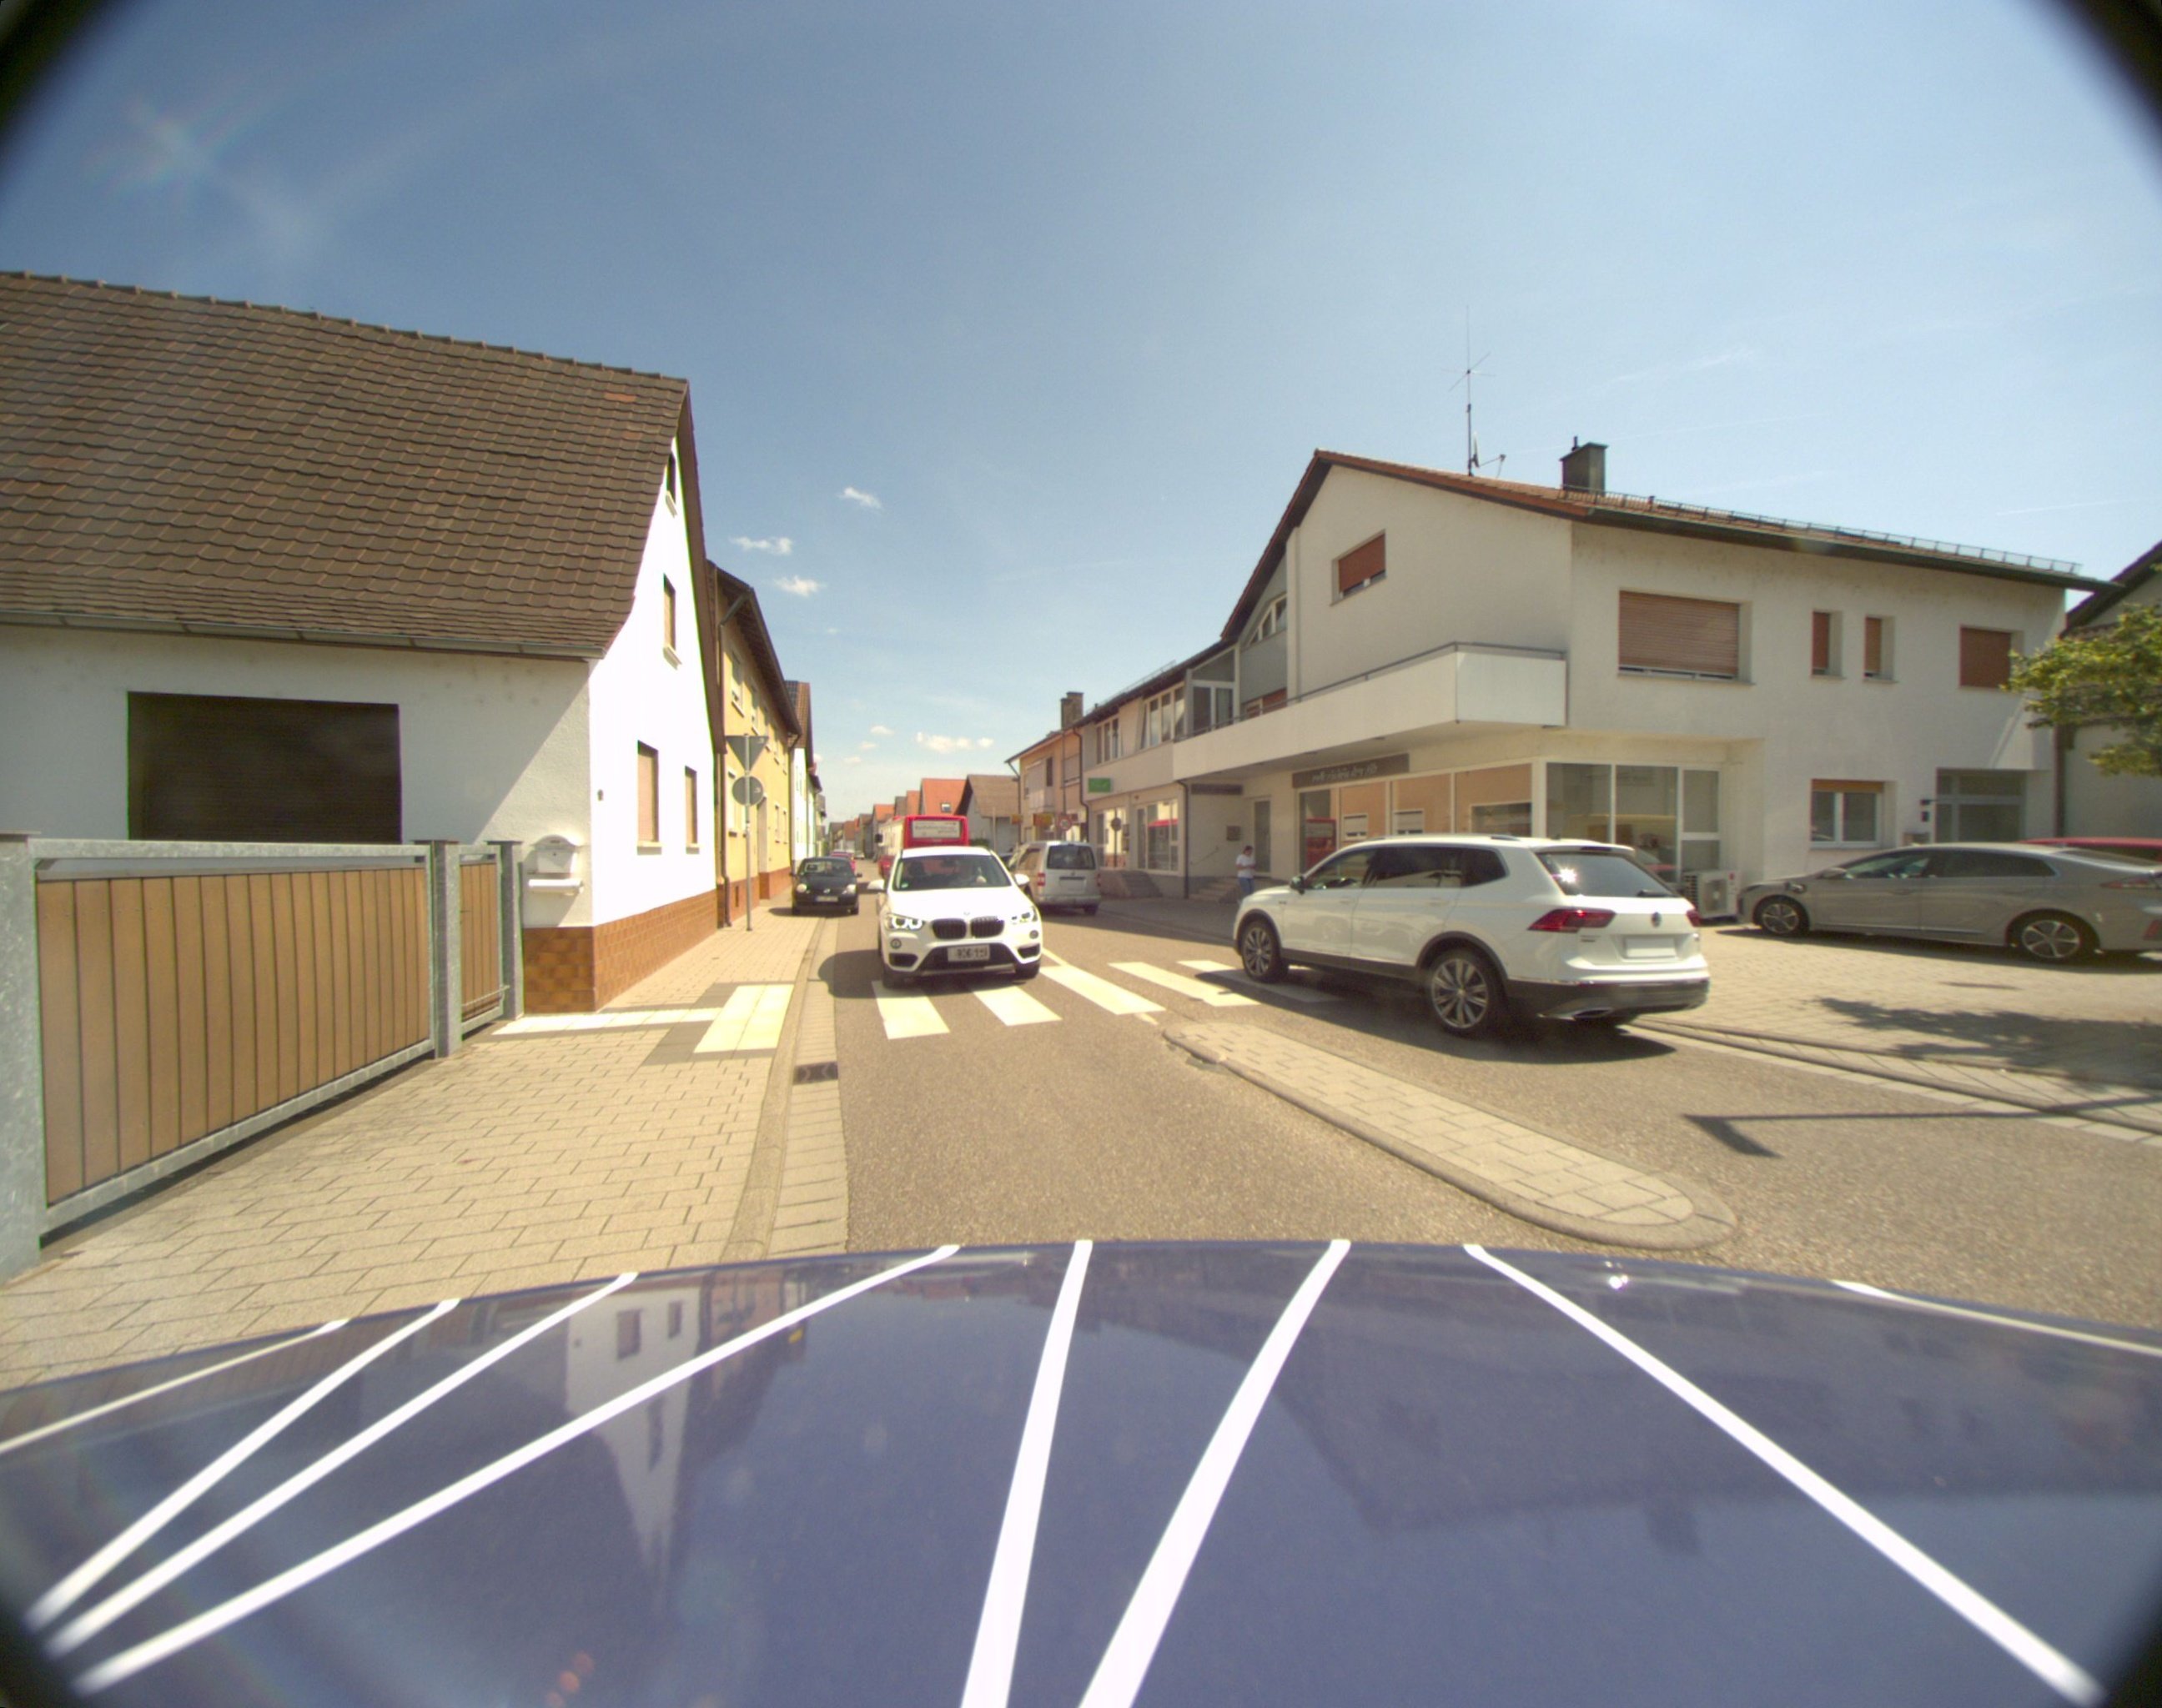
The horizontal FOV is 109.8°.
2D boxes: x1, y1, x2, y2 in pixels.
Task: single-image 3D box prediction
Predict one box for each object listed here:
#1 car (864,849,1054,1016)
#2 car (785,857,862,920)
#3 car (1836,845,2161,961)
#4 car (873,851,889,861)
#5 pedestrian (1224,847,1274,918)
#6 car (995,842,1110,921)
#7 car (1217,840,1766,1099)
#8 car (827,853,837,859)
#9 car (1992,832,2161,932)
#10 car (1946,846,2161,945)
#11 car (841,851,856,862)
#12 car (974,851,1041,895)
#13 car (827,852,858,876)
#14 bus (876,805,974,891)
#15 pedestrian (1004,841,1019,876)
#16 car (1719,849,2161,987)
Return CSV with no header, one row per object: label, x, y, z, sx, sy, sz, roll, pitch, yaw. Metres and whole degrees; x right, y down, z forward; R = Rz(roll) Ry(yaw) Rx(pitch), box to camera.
car,-1.851,0.797,10.106,1.847,1.636,4.367,-3,1,-17
car,-6.641,0.840,19.733,1.693,1.454,3.623,1,0,-18
car,14.503,0.623,11.515,1.754,1.469,3.957,-1,1,-18
car,-27.268,0.281,103.612,1.767,1.420,3.845,0,0,-21
pedestrian,3.988,0.653,18.057,0.758,1.575,0.955,-3,2,-16
car,-0.870,0.620,19.667,1.779,1.810,4.434,1,0,-19
car,3.383,0.770,7.436,1.874,1.700,4.533,2,0,-22
car,-53.998,0.402,164.829,1.767,1.420,3.845,0,0,-21
car,19.906,0.489,13.239,1.989,1.729,4.741,-1,1,-18
car,17.068,0.627,11.765,1.837,1.442,4.471,-1,1,-18
car,-31.969,0.348,104.385,1.767,1.420,4.181,0,0,-20
car,-3.073,0.711,31.181,1.750,1.507,3.993,-5,2,-19
car,-14.848,0.571,47.289,1.767,1.420,4.182,0,0,-18
bus,-7.410,-0.266,34.494,2.638,3.213,12.001,1,0,-20
pedestrian,-3.662,0.227,40.115,0.579,1.780,0.692,-3,2,-17
car,12.043,0.686,10.620,1.837,1.442,4.471,-1,1,-18
